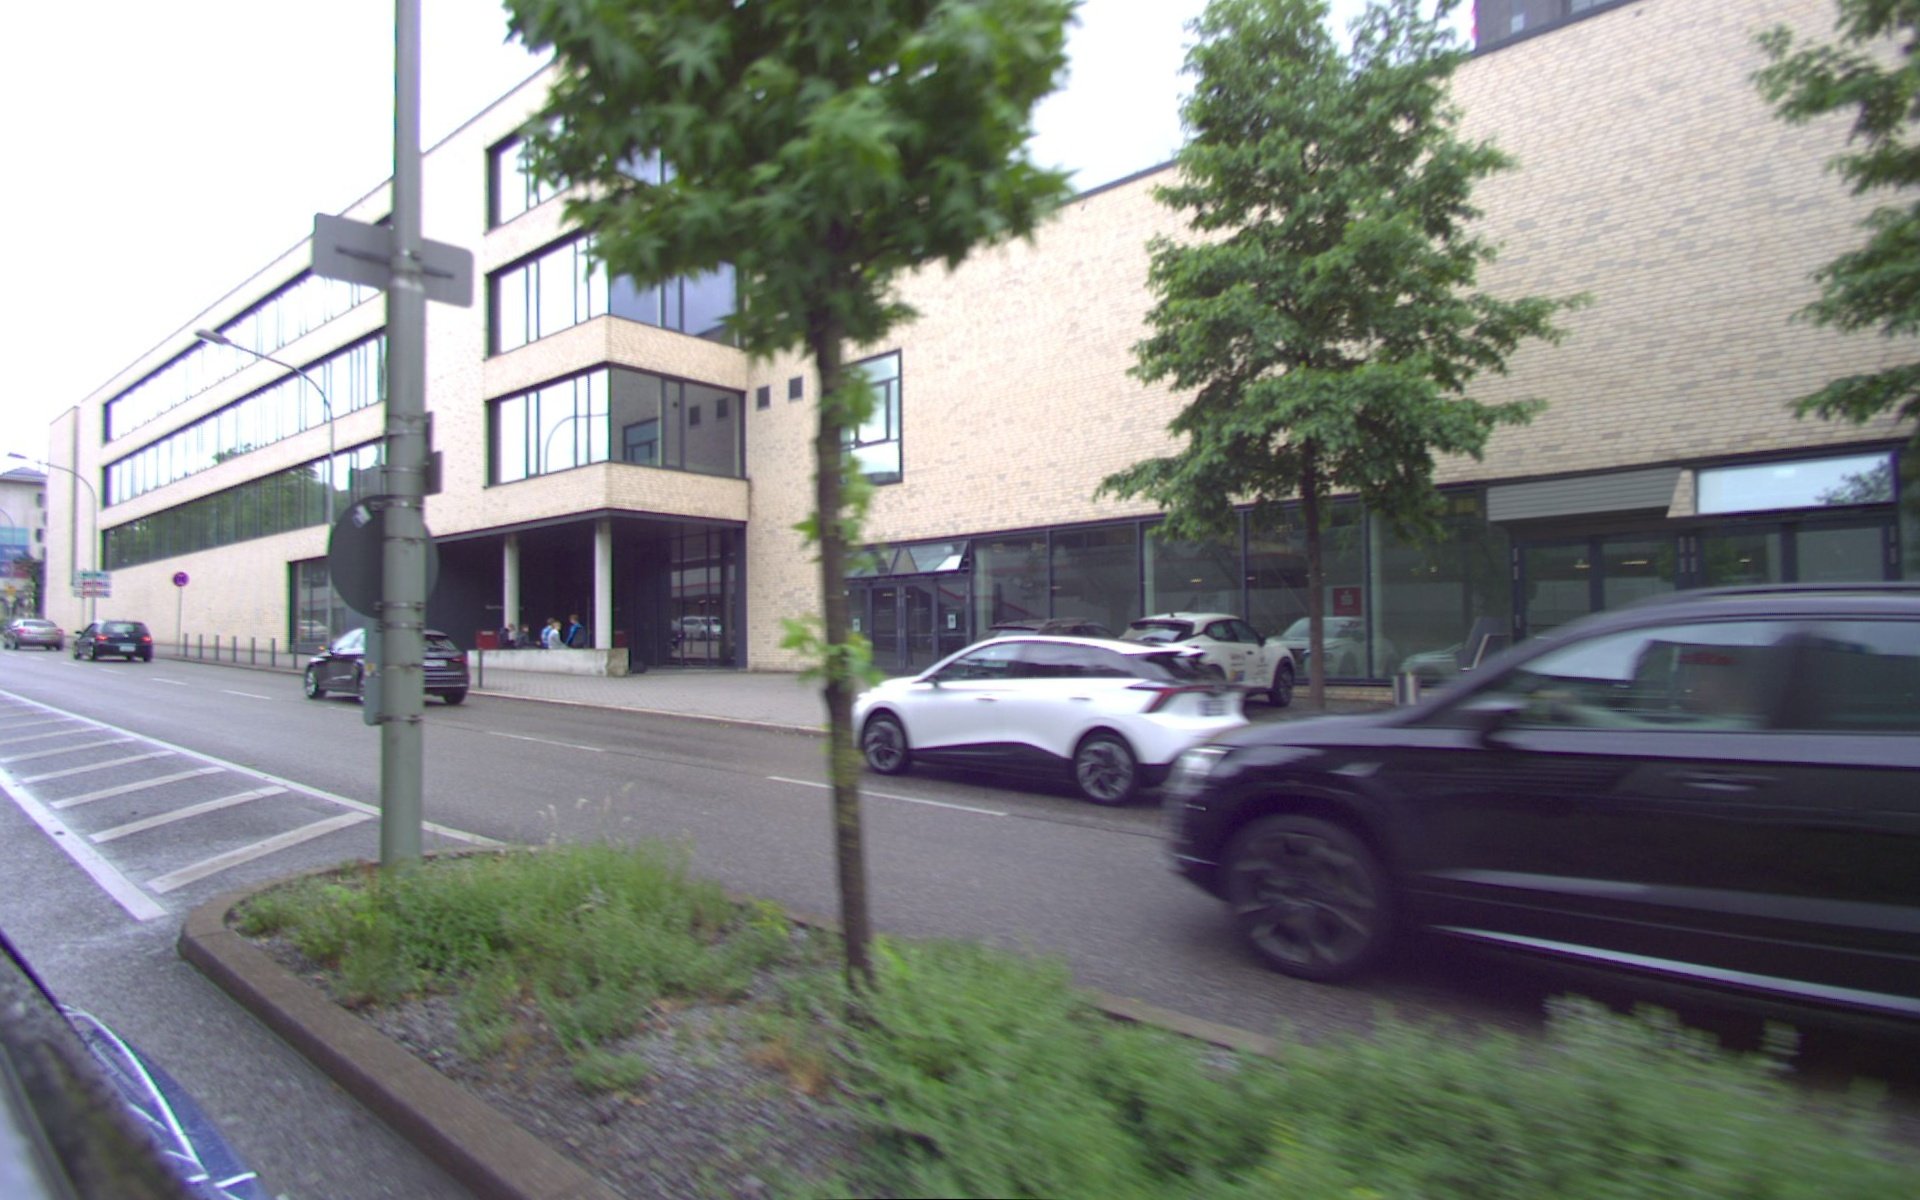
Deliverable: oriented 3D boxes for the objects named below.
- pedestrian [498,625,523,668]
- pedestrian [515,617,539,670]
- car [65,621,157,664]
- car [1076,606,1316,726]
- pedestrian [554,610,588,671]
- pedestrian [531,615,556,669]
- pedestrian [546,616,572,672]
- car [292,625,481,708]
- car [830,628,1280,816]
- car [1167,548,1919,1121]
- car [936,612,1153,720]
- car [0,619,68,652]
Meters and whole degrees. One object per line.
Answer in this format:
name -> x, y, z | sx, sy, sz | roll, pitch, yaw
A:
pedestrian -> -13.131, 1.354, 29.550 | 0.422, 1.224, 0.542 | 0, 1, 44
pedestrian -> -12.408, 1.244, 28.971 | 0.462, 1.486, 0.445 | 0, 1, 36
car -> -29.859, 1.487, 35.566 | 3.967, 1.423, 1.728 | -1, -3, 40
car -> 3.908, 0.935, 16.339 | 2.000, 1.559, 4.131 | 0, 1, 43
pedestrian -> -11.299, 1.159, 29.394 | 0.704, 1.727, 0.628 | 0, 1, 41
pedestrian -> -11.674, 1.174, 28.349 | 0.462, 1.486, 0.445 | 0, 1, 36
pedestrian -> -10.996, 1.196, 27.751 | 0.527, 1.486, 0.437 | 0, 1, 36
car -> -11.101, 1.222, 19.482 | 4.195, 1.404, 1.715 | -1, -3, 39
car -> 0.809, 1.052, 10.074 | 4.227, 1.480, 1.715 | -1, -4, 39
car -> 3.081, 0.716, 3.765 | 4.227, 1.638, 1.715 | -1, -4, 39
car -> 1.598, 1.034, 17.662 | 1.995, 1.506, 4.140 | 0, 1, 35
car -> -42.105, 1.604, 45.866 | 4.226, 1.399, 1.811 | -1, -3, 40
